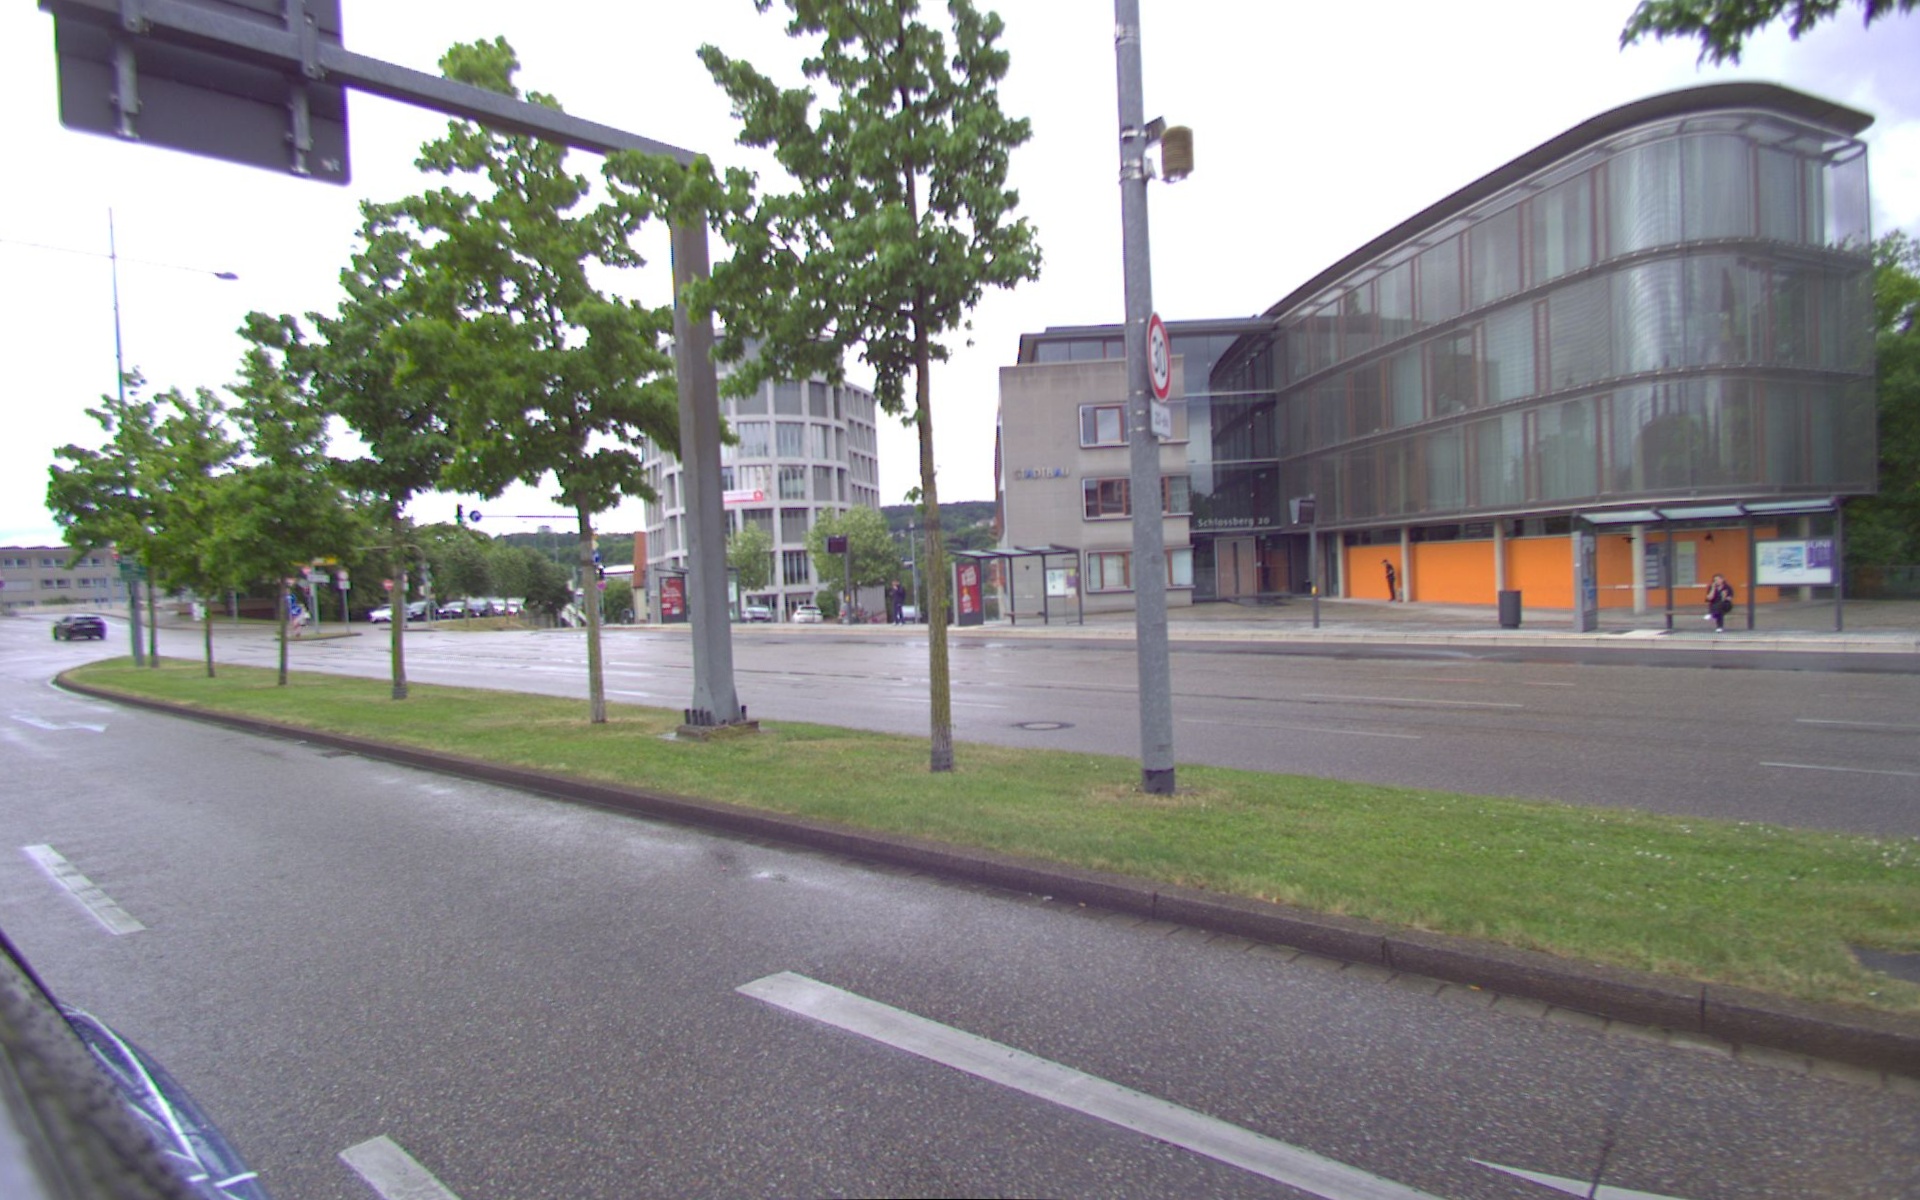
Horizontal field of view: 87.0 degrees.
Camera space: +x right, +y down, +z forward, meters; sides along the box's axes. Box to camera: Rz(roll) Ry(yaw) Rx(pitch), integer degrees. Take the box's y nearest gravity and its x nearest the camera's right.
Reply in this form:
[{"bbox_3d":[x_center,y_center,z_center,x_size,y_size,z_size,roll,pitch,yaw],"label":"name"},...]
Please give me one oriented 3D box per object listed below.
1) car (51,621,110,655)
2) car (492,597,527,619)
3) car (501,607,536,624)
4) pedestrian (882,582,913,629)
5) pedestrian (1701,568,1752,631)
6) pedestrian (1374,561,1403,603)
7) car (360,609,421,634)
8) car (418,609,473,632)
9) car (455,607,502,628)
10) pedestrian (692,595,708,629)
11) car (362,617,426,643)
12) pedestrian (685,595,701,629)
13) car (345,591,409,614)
[{"bbox_3d":[-50.246,2.134,57.811,3.998,1.789,1.973,-2,0,41],"label":"car"},{"bbox_3d":[-43.795,0.829,98.515,1.969,2.029,4.005,-1,-1,-6],"label":"car"},{"bbox_3d":[-45.838,1.629,104.967,2.161,1.725,4.926,-2,0,-38],"label":"car"},{"bbox_3d":[-2.439,0.217,39.518,0.964,1.774,0.783,-2,0,12],"label":"pedestrian"},{"bbox_3d":[16.528,-0.013,21.820,0.790,1.334,0.793,-2,-1,42],"label":"pedestrian"},{"bbox_3d":[17.055,-0.706,40.292,0.697,1.666,0.852,-1,0,-6],"label":"pedestrian"},{"bbox_3d":[-44.699,1.660,79.542,2.164,1.725,4.919,-2,0,-2],"label":"car"},{"bbox_3d":[-42.221,1.674,83.152,2.164,1.725,4.919,-2,0,-3],"label":"car"},{"bbox_3d":[-43.441,1.586,91.433,2.164,1.725,4.920,-2,0,-3],"label":"car"},{"bbox_3d":[-12.662,0.566,49.212,0.535,1.647,0.514,-1,0,41],"label":"pedestrian"},{"bbox_3d":[-41.917,2.169,75.084,2.164,1.725,4.919,-2,0,-3],"label":"car"},{"bbox_3d":[-12.832,0.569,48.643,0.501,1.647,0.497,-1,0,41],"label":"pedestrian"},{"bbox_3d":[-57.155,0.250,99.260,4.963,2.029,2.311,-2,0,0],"label":"car"}]
